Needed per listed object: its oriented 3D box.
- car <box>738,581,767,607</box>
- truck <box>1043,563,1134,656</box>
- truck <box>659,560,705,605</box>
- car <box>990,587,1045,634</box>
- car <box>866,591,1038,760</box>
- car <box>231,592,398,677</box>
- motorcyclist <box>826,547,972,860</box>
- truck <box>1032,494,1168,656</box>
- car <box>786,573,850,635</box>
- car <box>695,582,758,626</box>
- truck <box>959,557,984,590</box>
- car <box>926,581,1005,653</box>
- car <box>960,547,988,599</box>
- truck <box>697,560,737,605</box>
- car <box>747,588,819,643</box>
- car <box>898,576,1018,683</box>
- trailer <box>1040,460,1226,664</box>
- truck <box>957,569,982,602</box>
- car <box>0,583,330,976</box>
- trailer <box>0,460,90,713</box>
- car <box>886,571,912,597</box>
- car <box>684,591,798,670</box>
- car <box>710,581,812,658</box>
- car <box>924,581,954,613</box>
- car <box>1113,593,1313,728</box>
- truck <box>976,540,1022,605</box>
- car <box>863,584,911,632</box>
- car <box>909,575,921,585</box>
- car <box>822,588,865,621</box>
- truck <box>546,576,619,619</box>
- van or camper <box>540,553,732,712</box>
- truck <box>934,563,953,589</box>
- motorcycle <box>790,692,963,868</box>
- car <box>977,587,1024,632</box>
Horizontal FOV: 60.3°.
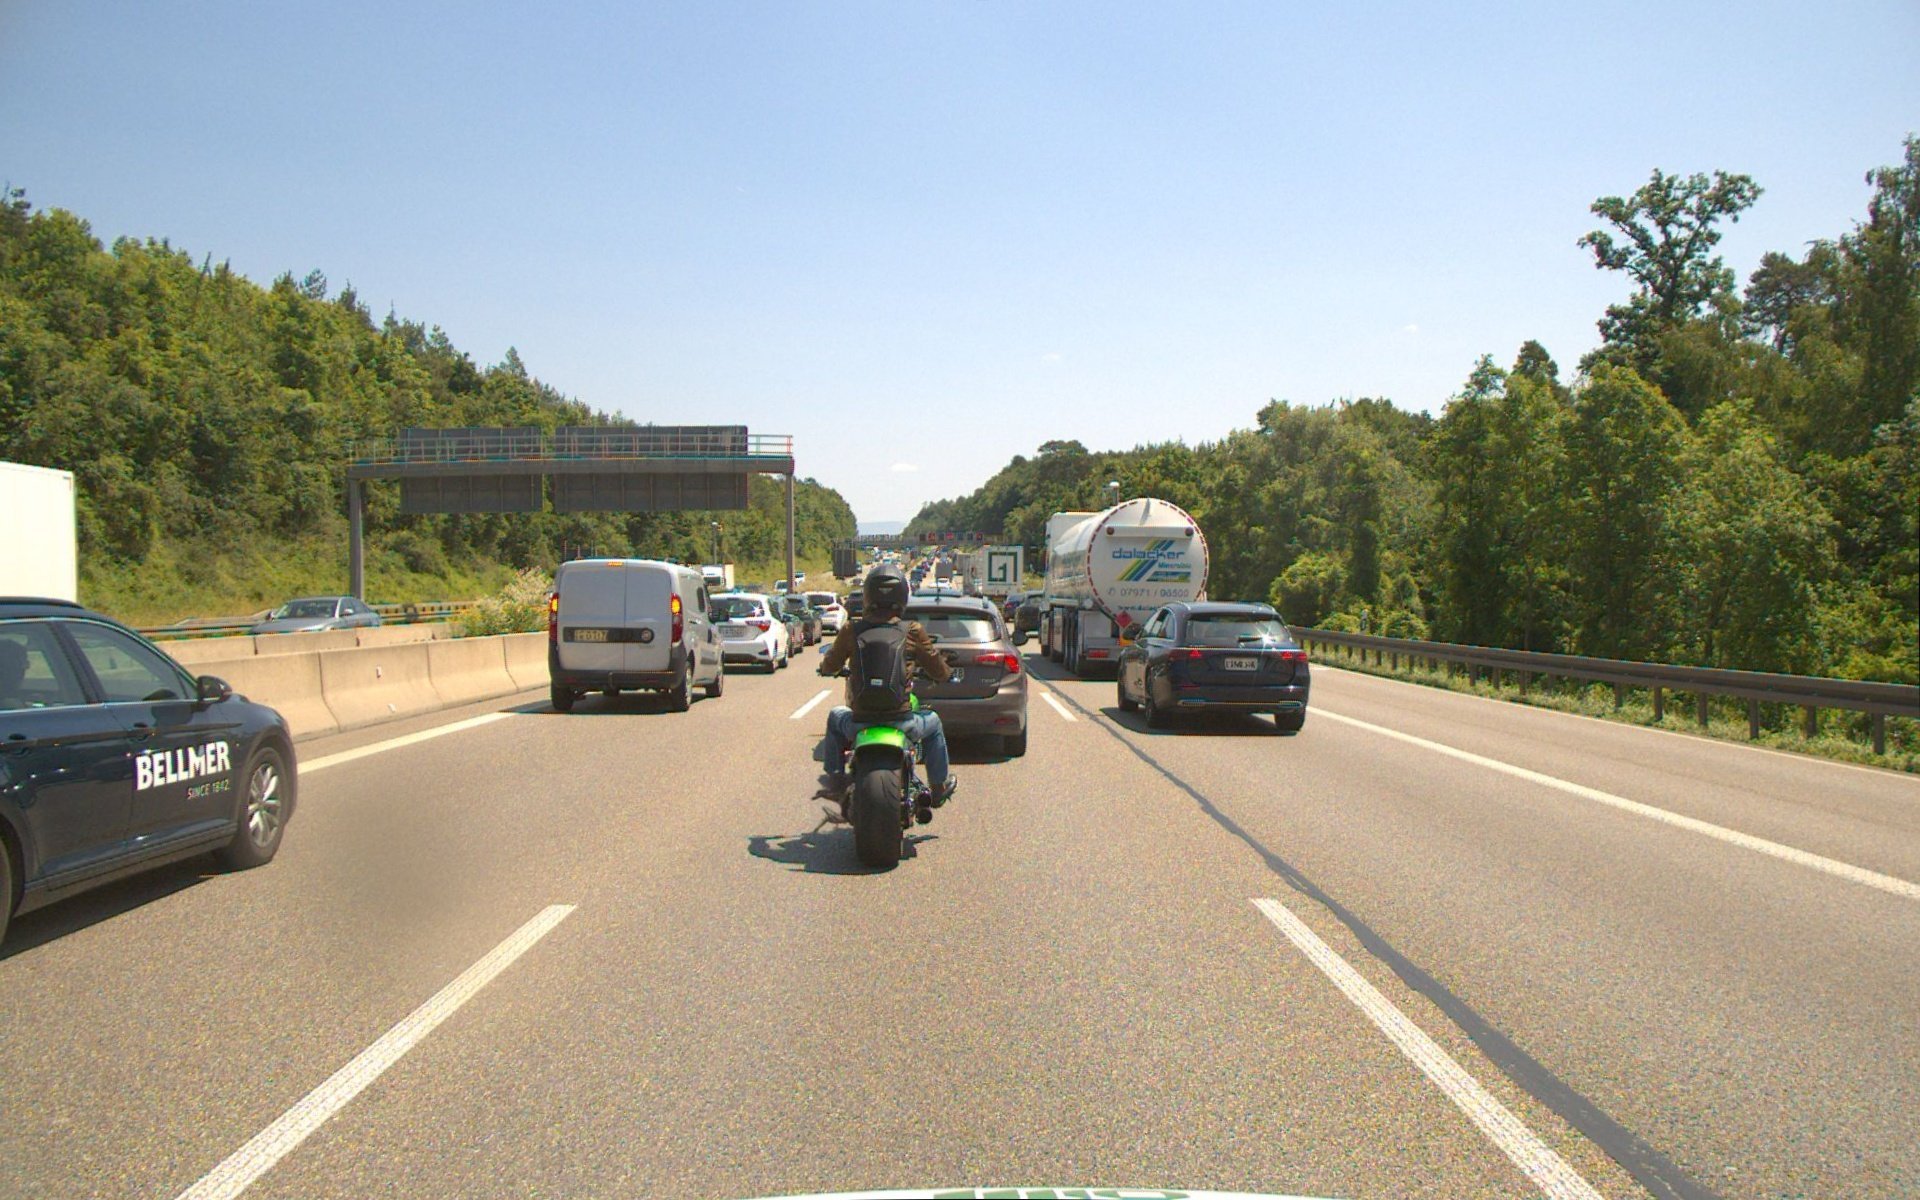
[{"bbox_3d":[-15.988,-0.463,127.417,1.748,1.870,4.292,1,-1,-1],"label":"car"},{"bbox_3d":[4.436,0.311,58.521,2.340,3.031,8.250,1,0,-2],"label":"truck"},{"bbox_3d":[-19.330,-1.148,115.220,2.133,2.935,6.740,1,-1,-1],"label":"truck"},{"bbox_3d":[2.007,0.380,58.296,1.740,1.554,3.999,1,-1,-1],"label":"car"},{"bbox_3d":[-0.090,0.671,16.725,1.509,1.475,3.999,1,0,-1],"label":"car"},{"bbox_3d":[-14.621,0.777,37.776,1.952,1.794,4.452,1,-1,1],"label":"car"},{"bbox_3d":[-0.340,0.578,9.645,0.782,1.717,1.016,1,-1,-1],"label":"motorcyclist"},{"bbox_3d":[3.392,-0.533,41.604,2.770,3.735,6.428,1,-1,-1],"label":"truck"},{"bbox_3d":[-4.933,0.166,57.994,1.953,2.049,3.999,1,-1,-1],"label":"car"},{"bbox_3d":[-8.206,0.131,58.391,1.788,1.521,3.999,0,0,-2],"label":"car"},{"bbox_3d":[1.225,-2.879,183.156,2.641,3.465,10.476,0,0,-1],"label":"truck"},{"bbox_3d":[0.101,0.463,44.057,1.953,1.806,3.998,1,-1,-2],"label":"car"},{"bbox_3d":[1.122,-2.163,136.829,2.123,3.961,9.328,1,-1,-1],"label":"car"},{"bbox_3d":[-23.032,-1.650,157.329,2.637,4.059,7.988,1,-1,-1],"label":"truck"},{"bbox_3d":[-5.095,0.456,47.959,1.954,1.490,3.996,1,-1,-5],"label":"car"},{"bbox_3d":[-0.076,0.508,29.322,1.953,1.741,3.998,1,-1,-2],"label":"car"},{"bbox_3d":[3.461,-0.630,35.914,2.770,3.735,10.730,1,-1,-1],"label":"trailer"},{"bbox_3d":[0.669,-0.956,111.842,1.558,2.148,3.752,1,-1,2],"label":"truck"},{"bbox_3d":[-4.525,0.666,7.144,1.836,1.475,4.677,1,0,-1],"label":"car"},{"bbox_3d":[-18.699,-0.299,27.388,2.889,4.560,10.814,1,-1,-1],"label":"trailer"},{"bbox_3d":[-4.855,-1.249,131.354,1.953,2.049,3.999,0,0,-1],"label":"car"},{"bbox_3d":[-4.257,0.594,32.699,1.740,1.435,3.999,1,-1,-1],"label":"car"},{"bbox_3d":[-4.709,0.479,39.739,1.953,1.713,4.329,1,-1,-1],"label":"car"},{"bbox_3d":[-1.375,-0.174,108.349,1.953,2.049,3.999,0,0,-1],"label":"car"},{"bbox_3d":[3.059,0.709,20.865,1.755,1.484,4.623,1,-1,-1],"label":"car"},{"bbox_3d":[2.506,-1.668,104.606,2.794,3.888,7.189,1,-1,2],"label":"truck"},{"bbox_3d":[-3.220,0.389,73.359,1.953,2.049,3.999,1,-1,-1],"label":"car"},{"bbox_3d":[-6.994,-3.112,257.234,1.734,1.583,3.999,0,0,-1],"label":"car"},{"bbox_3d":[-5.443,0.223,77.791,1.728,1.467,3.999,1,-1,0],"label":"car"},{"bbox_3d":[-18.848,-0.090,82.842,2.304,2.049,6.489,1,-1,-2],"label":"truck"},{"bbox_3d":[-4.267,0.373,22.480,1.815,1.913,4.560,1,1,-2],"label":"van or camper"},{"bbox_3d":[-2.291,-3.281,230.217,2.641,3.465,10.476,0,0,-1],"label":"truck"},{"bbox_3d":[-0.458,1.032,10.033,0.917,0.807,2.298,1,0,-1],"label":"motorcycle"},{"bbox_3d":[1.866,0.453,77.316,1.953,2.049,3.998,1,-1,-2],"label":"car"}]
